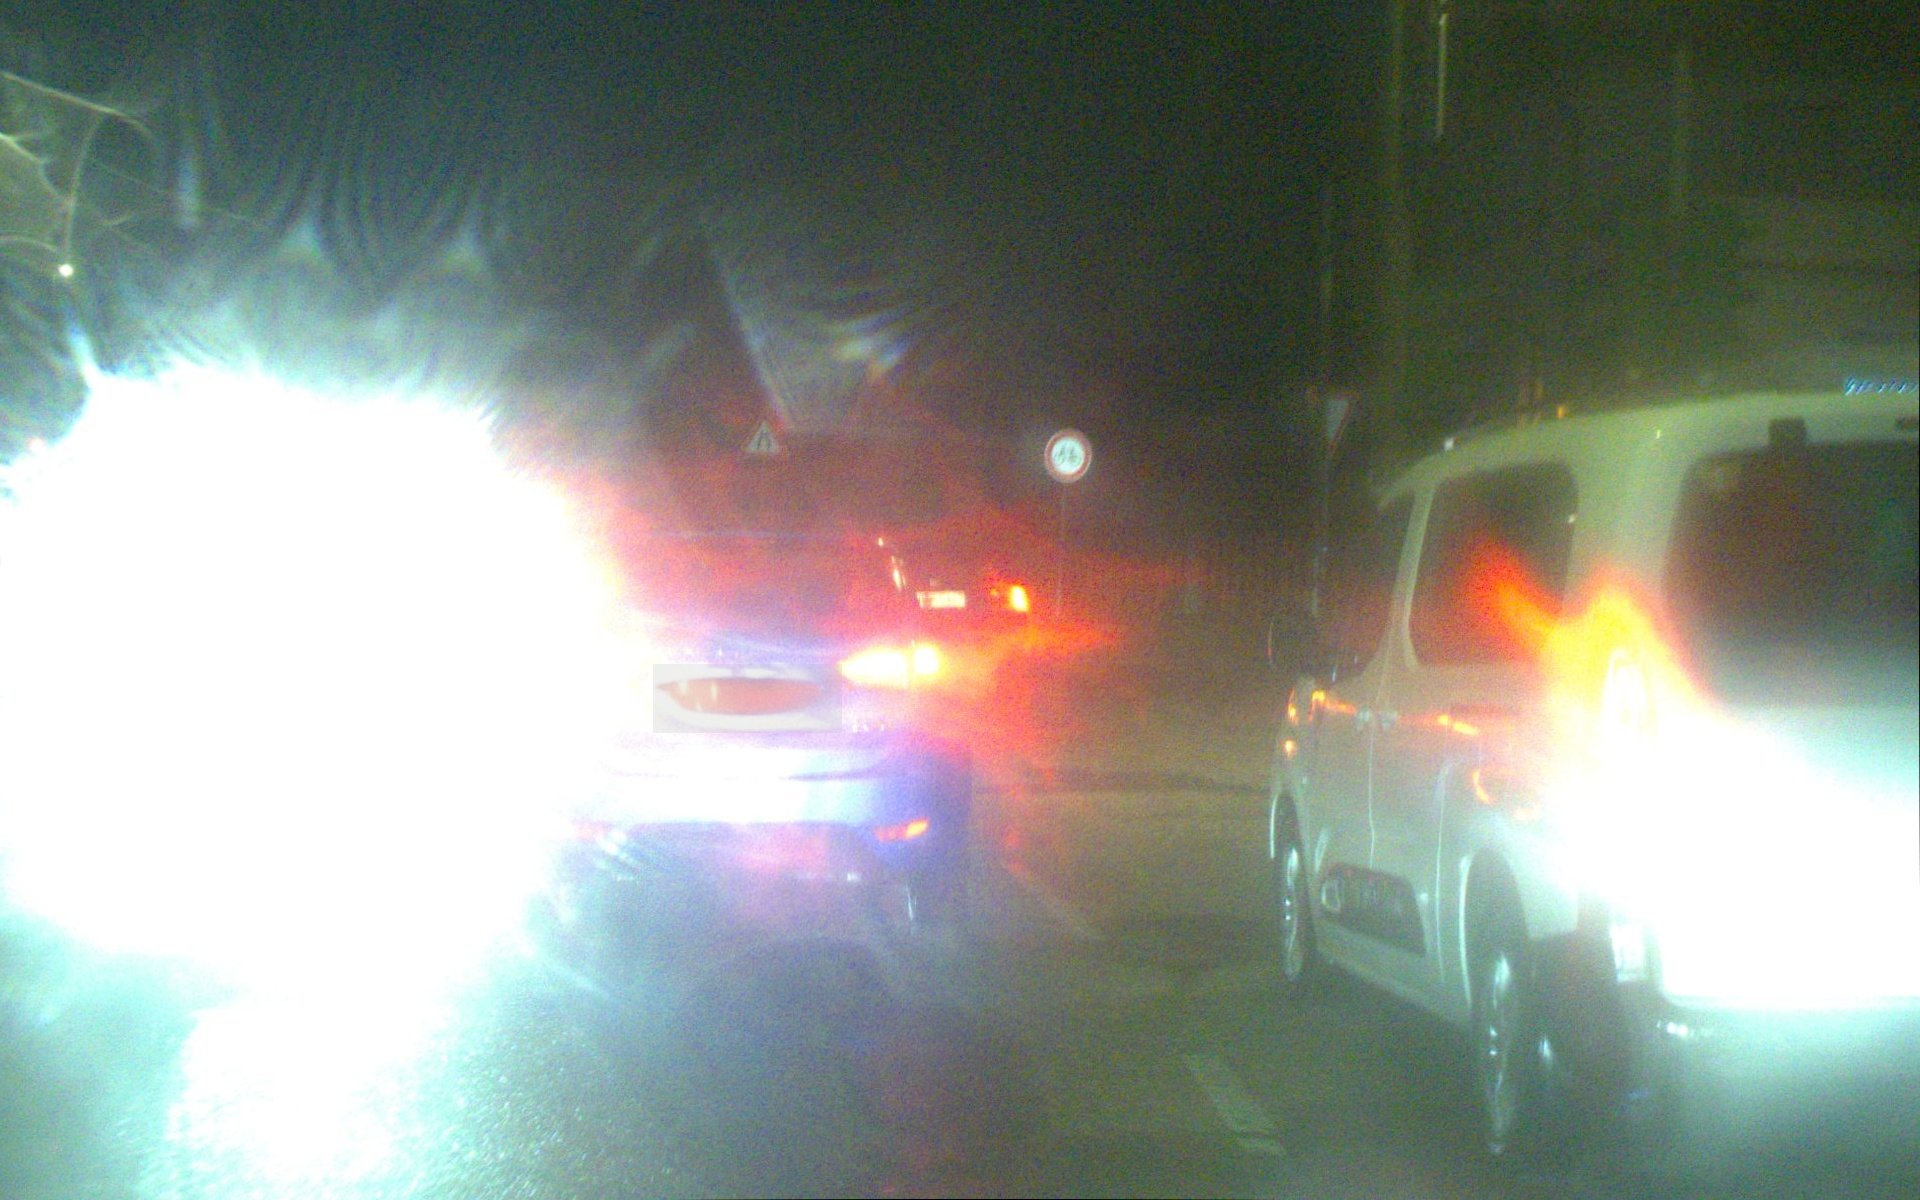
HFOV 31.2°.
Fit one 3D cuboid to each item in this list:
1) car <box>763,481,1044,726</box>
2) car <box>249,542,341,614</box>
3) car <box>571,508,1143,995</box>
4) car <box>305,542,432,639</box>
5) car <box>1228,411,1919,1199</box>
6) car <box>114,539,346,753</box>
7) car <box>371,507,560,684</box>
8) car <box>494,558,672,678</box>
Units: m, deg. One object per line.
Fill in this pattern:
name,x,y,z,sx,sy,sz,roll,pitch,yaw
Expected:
car,-0.587,0.005,31.206,1.968,2.040,4.001,1,1,-9
car,-16.620,-0.570,85.784,1.993,1.726,4.001,1,1,-14
car,-0.566,0.520,14.560,2.014,1.711,4.452,1,1,-5
car,-11.102,-0.202,64.340,1.993,1.726,4.001,1,1,-14
car,1.968,0.529,9.408,1.851,1.858,4.341,1,1,-3
car,-7.071,0.383,33.259,2.014,1.880,4.453,1,1,-12
car,-6.048,-0.073,41.744,1.993,2.007,4.001,1,1,-12
car,-5.811,0.241,52.538,1.993,1.712,4.001,1,1,-16
